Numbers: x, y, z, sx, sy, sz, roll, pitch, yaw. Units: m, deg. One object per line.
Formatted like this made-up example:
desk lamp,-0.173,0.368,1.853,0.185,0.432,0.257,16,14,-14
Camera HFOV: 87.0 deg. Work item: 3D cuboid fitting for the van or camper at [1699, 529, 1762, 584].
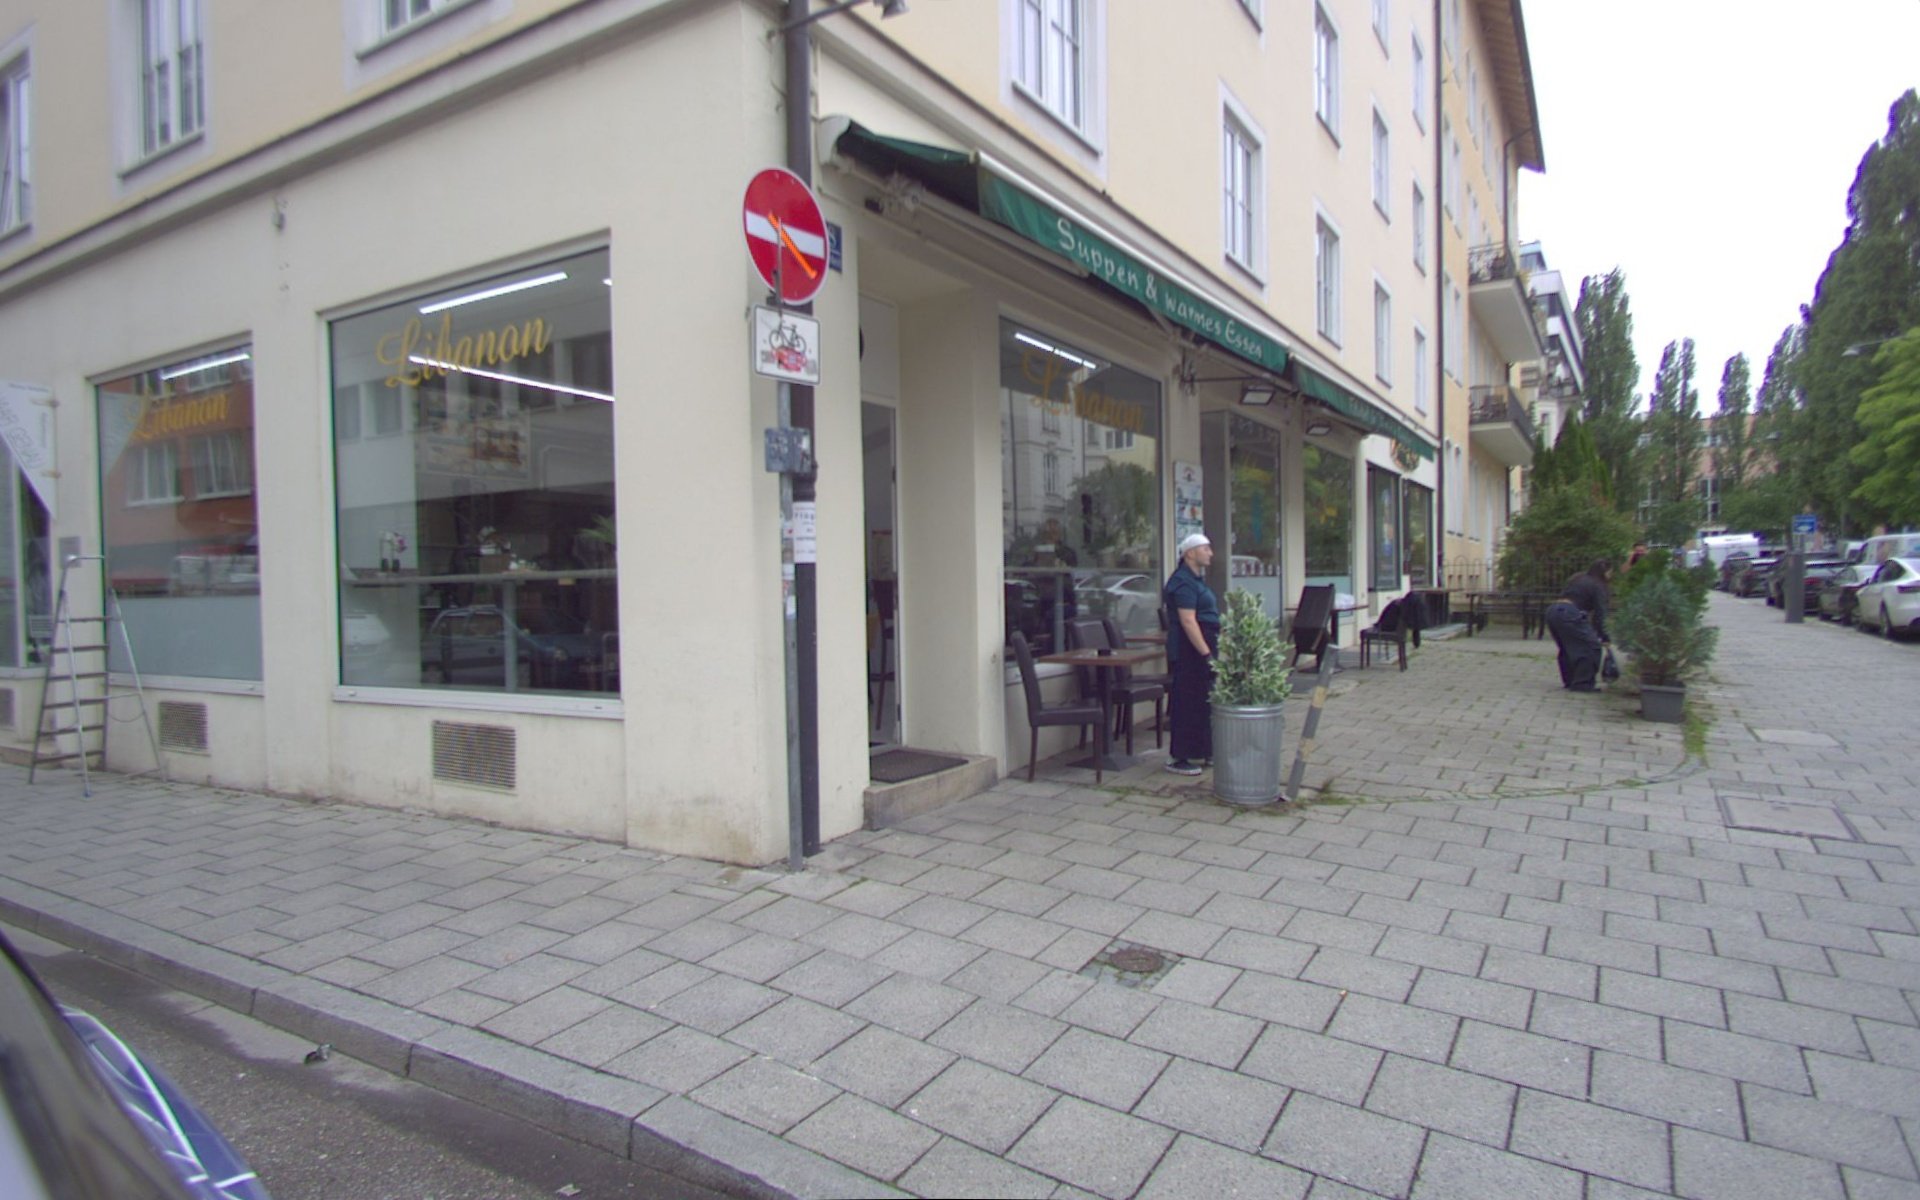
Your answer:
van or camper,44.579,-2.489,58.638,2.421,2.957,5.312,-1,1,33

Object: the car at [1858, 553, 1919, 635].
car,18.736,-0.163,19.484,1.616,1.453,3.954,-1,1,34

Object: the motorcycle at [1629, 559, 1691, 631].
motorcycle,15.226,-0.088,22.069,0.961,1.473,2.857,-1,-1,32

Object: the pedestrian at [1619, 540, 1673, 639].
pedestrian,11.951,-0.194,17.645,0.731,1.668,0.783,1,2,34

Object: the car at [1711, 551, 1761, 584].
car,40.861,-1.697,53.354,1.703,1.659,3.956,-1,1,33

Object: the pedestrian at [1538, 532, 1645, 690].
pedestrian,6.603,0.086,10.575,0.851,1.563,0.740,2,3,38

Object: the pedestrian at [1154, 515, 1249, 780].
pedestrian,1.606,0.296,6.689,0.534,1.654,0.602,-1,0,18

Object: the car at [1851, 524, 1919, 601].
car,32.568,-1.274,34.444,2.151,2.494,4.564,-1,1,25

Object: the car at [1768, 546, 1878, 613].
car,23.215,-0.550,27.359,1.703,1.659,3.956,-1,1,33

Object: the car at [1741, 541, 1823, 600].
car,27.828,-0.986,34.367,1.703,1.874,3.956,-1,1,33
